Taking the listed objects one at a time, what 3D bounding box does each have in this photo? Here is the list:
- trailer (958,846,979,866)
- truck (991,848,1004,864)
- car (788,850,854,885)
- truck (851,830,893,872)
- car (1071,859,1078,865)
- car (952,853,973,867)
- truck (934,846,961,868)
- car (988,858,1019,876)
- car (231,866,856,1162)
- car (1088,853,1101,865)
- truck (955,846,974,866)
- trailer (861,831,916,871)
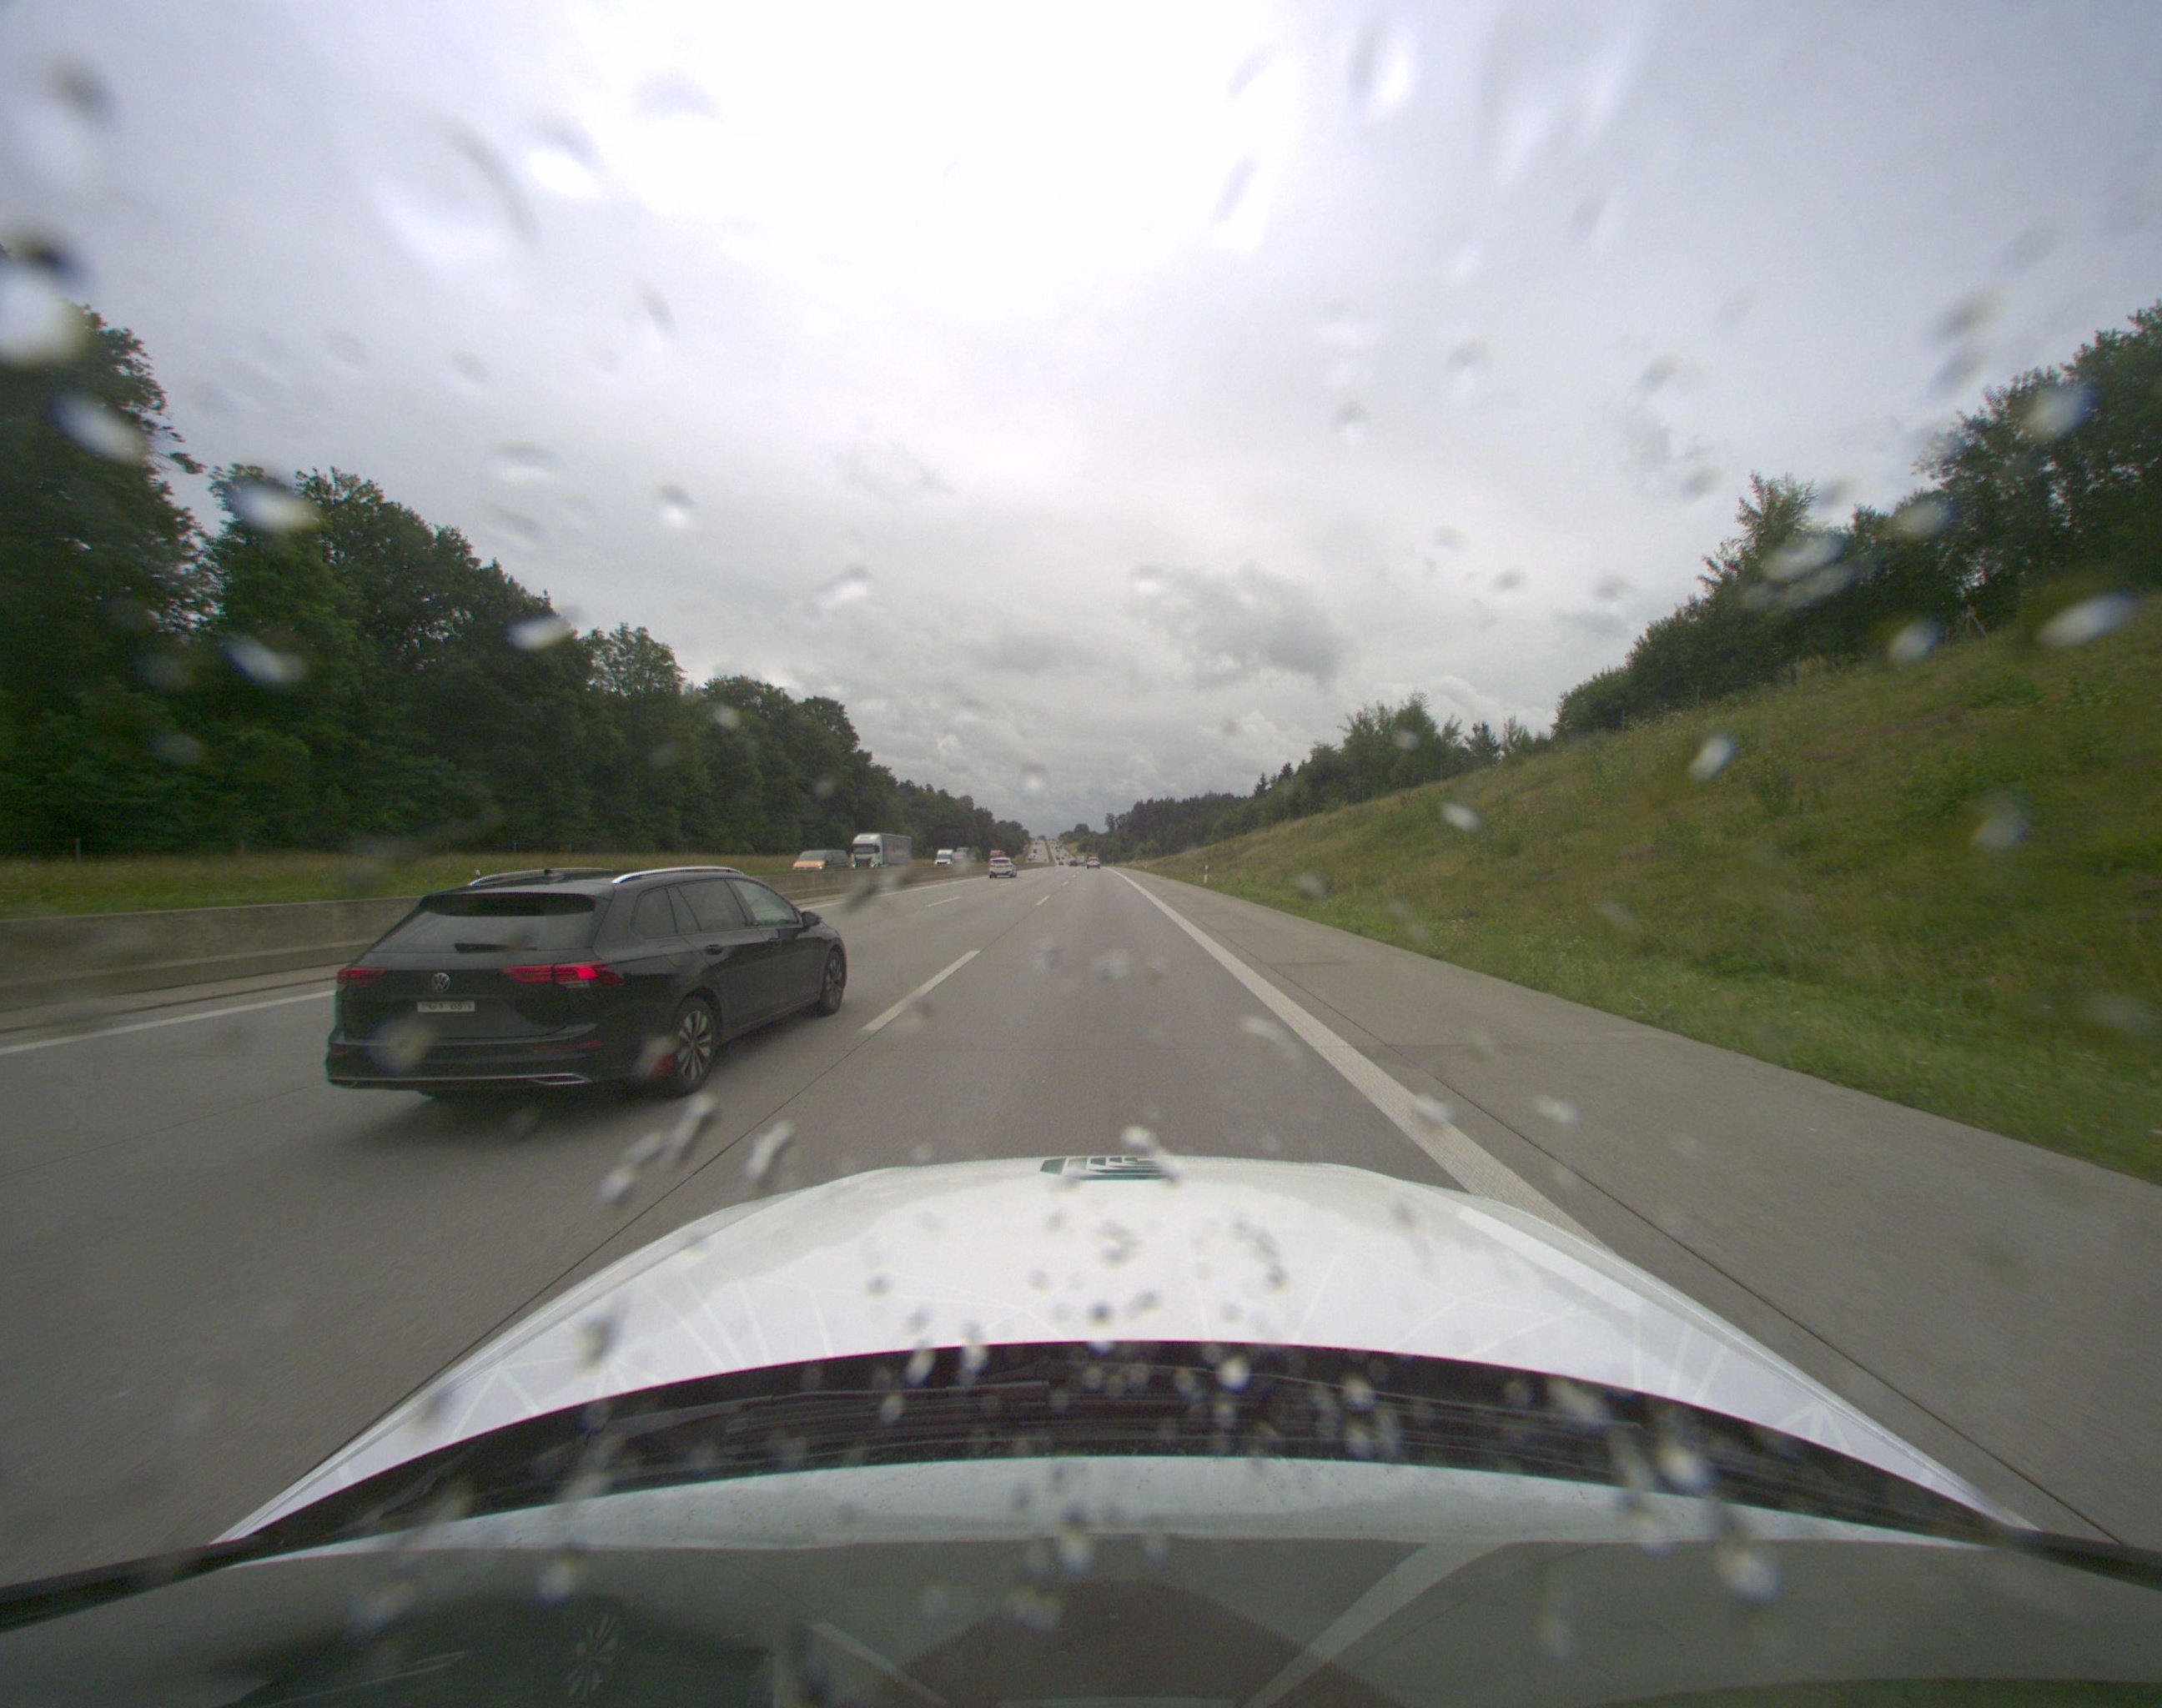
[{"bbox_3d":[-22.187,0.390,160.961,2.795,3.700,9.011,0,0,0],"label":"trailer"},{"bbox_3d":[-20.989,0.587,204.095,2.545,3.928,6.945,0,0,0],"label":"truck"},{"bbox_3d":[-15.470,0.772,48.824,2.054,2.014,5.428,0,0,1],"label":"car"},{"bbox_3d":[-21.308,-0.298,83.402,2.499,4.125,6.462,0,0,1],"label":"truck"},{"bbox_3d":[-1.810,2.179,220.483,1.930,1.375,4.591,0,0,-2],"label":"car"},{"bbox_3d":[-16.524,0.798,113.650,1.986,1.882,5.316,0,-1,2],"label":"car"},{"bbox_3d":[-16.898,0.370,103.465,2.259,2.788,6.513,1,0,1],"label":"truck"},{"bbox_3d":[-5.972,1.007,63.082,1.941,1.356,4.259,0,0,1],"label":"car"},{"bbox_3d":[-3.311,0.832,6.311,1.746,1.398,4.486,0,0,2],"label":"car"},{"bbox_3d":[1.889,0.680,117.481,1.819,1.655,3.985,0,0,1],"label":"car"},{"bbox_3d":[-22.207,0.370,155.802,2.771,3.740,5.659,0,0,0],"label":"truck"},{"bbox_3d":[-21.166,-0.282,90.397,2.489,4.103,13.978,0,0,1],"label":"trailer"}]
